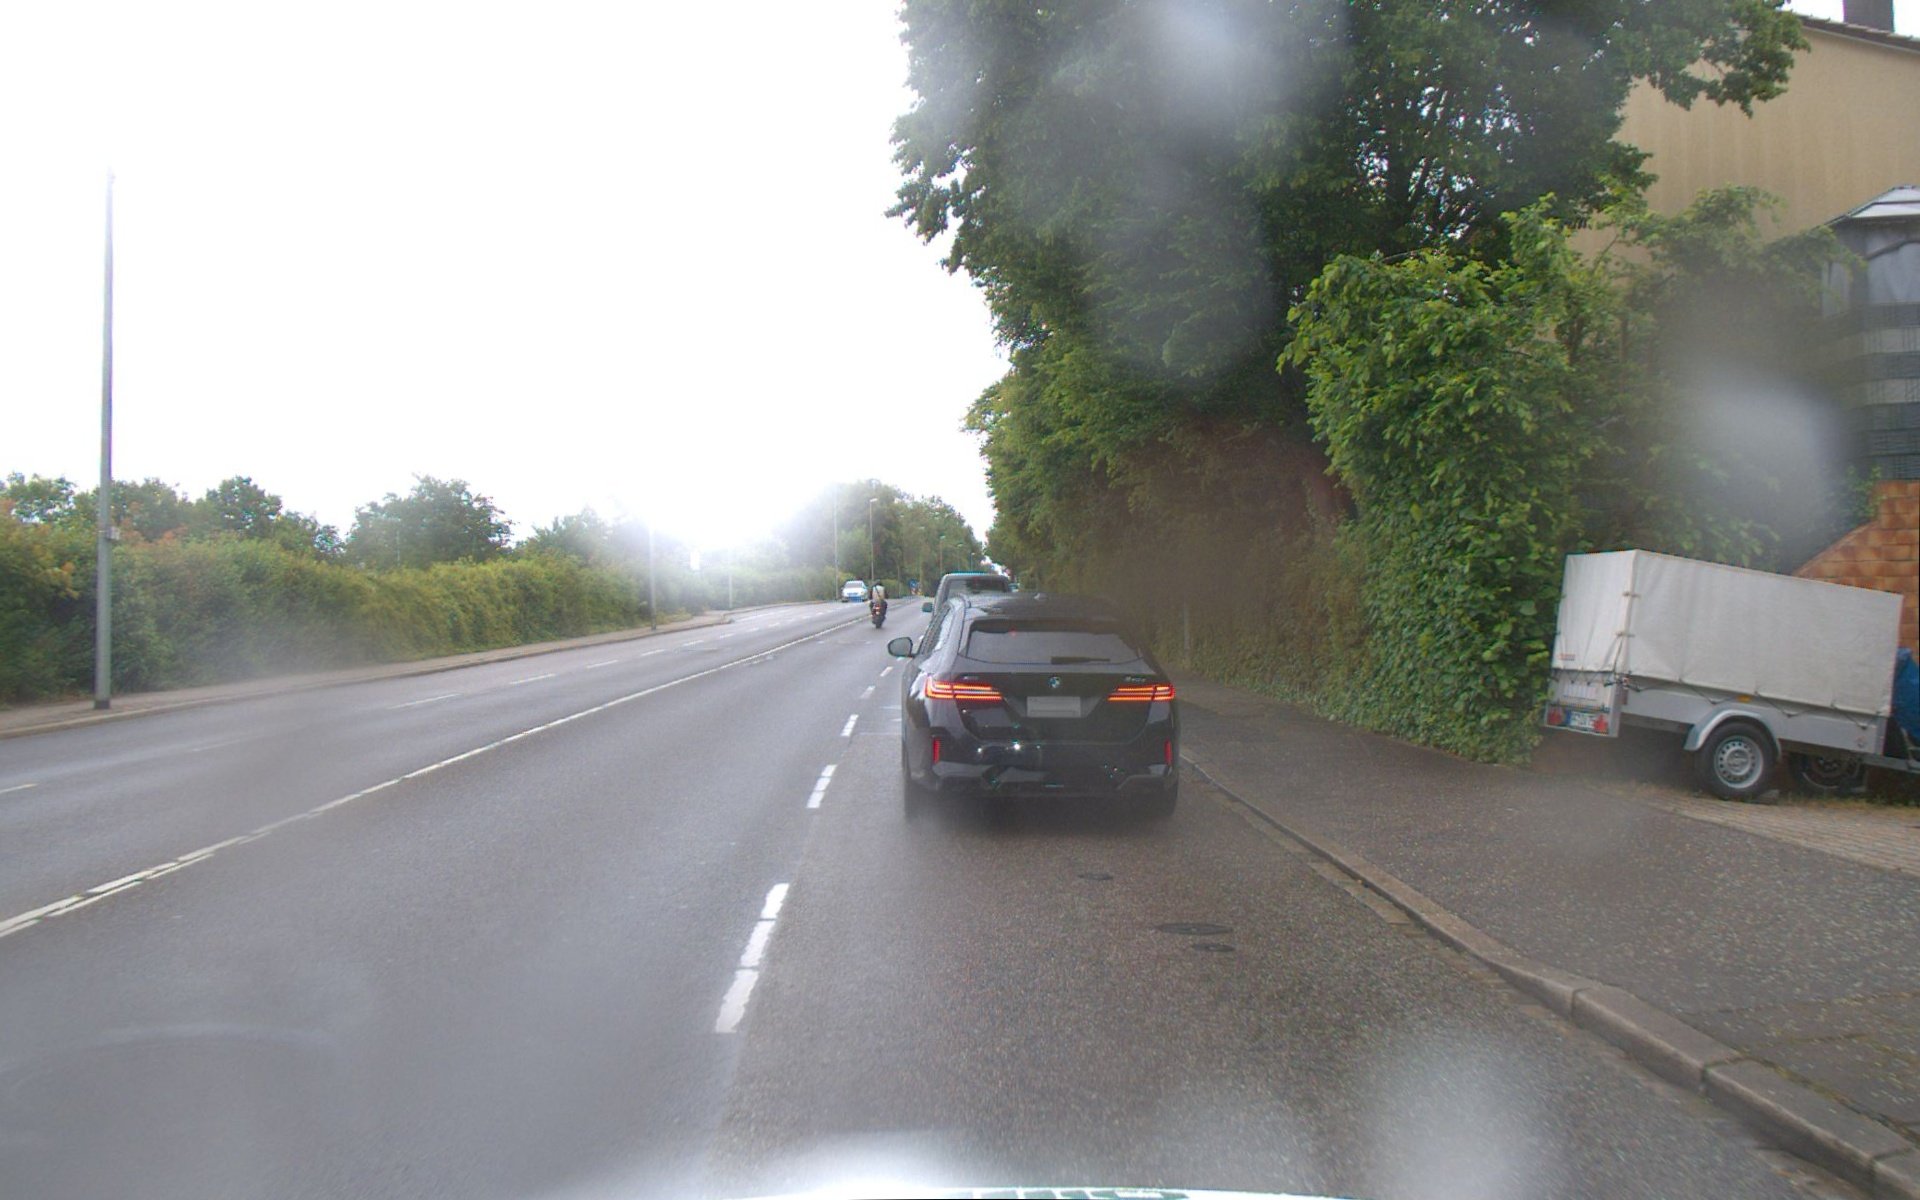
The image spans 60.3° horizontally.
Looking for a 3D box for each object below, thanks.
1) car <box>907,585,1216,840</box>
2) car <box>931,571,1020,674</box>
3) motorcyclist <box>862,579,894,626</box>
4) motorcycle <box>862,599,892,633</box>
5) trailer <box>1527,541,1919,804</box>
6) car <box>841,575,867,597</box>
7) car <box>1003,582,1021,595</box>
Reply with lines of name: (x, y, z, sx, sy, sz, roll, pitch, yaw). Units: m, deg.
car: (0.686, 0.677, 12.099, 1.858, 1.515, 4.001, 1, 0, 2)
car: (0.313, 0.393, 32.526, 1.595, 1.865, 4.001, -2, 1, 1)
motorcyclist: (-2.835, 0.095, 57.066, 1.018, 1.595, 0.855, 1, 0, 1)
motorcycle: (-2.850, 0.547, 57.103, 0.858, 1.144, 2.741, 1, 0, 1)
trailer: (6.083, 0.558, 12.510, 2.923, 1.597, 1.488, 7, 0, -3)
car: (-8.013, -1.072, 125.110, 1.720, 1.595, 4.000, -2, 1, -1)
car: (5.793, -1.289, 184.273, 1.895, 1.467, 4.410, -1, 0, 3)
